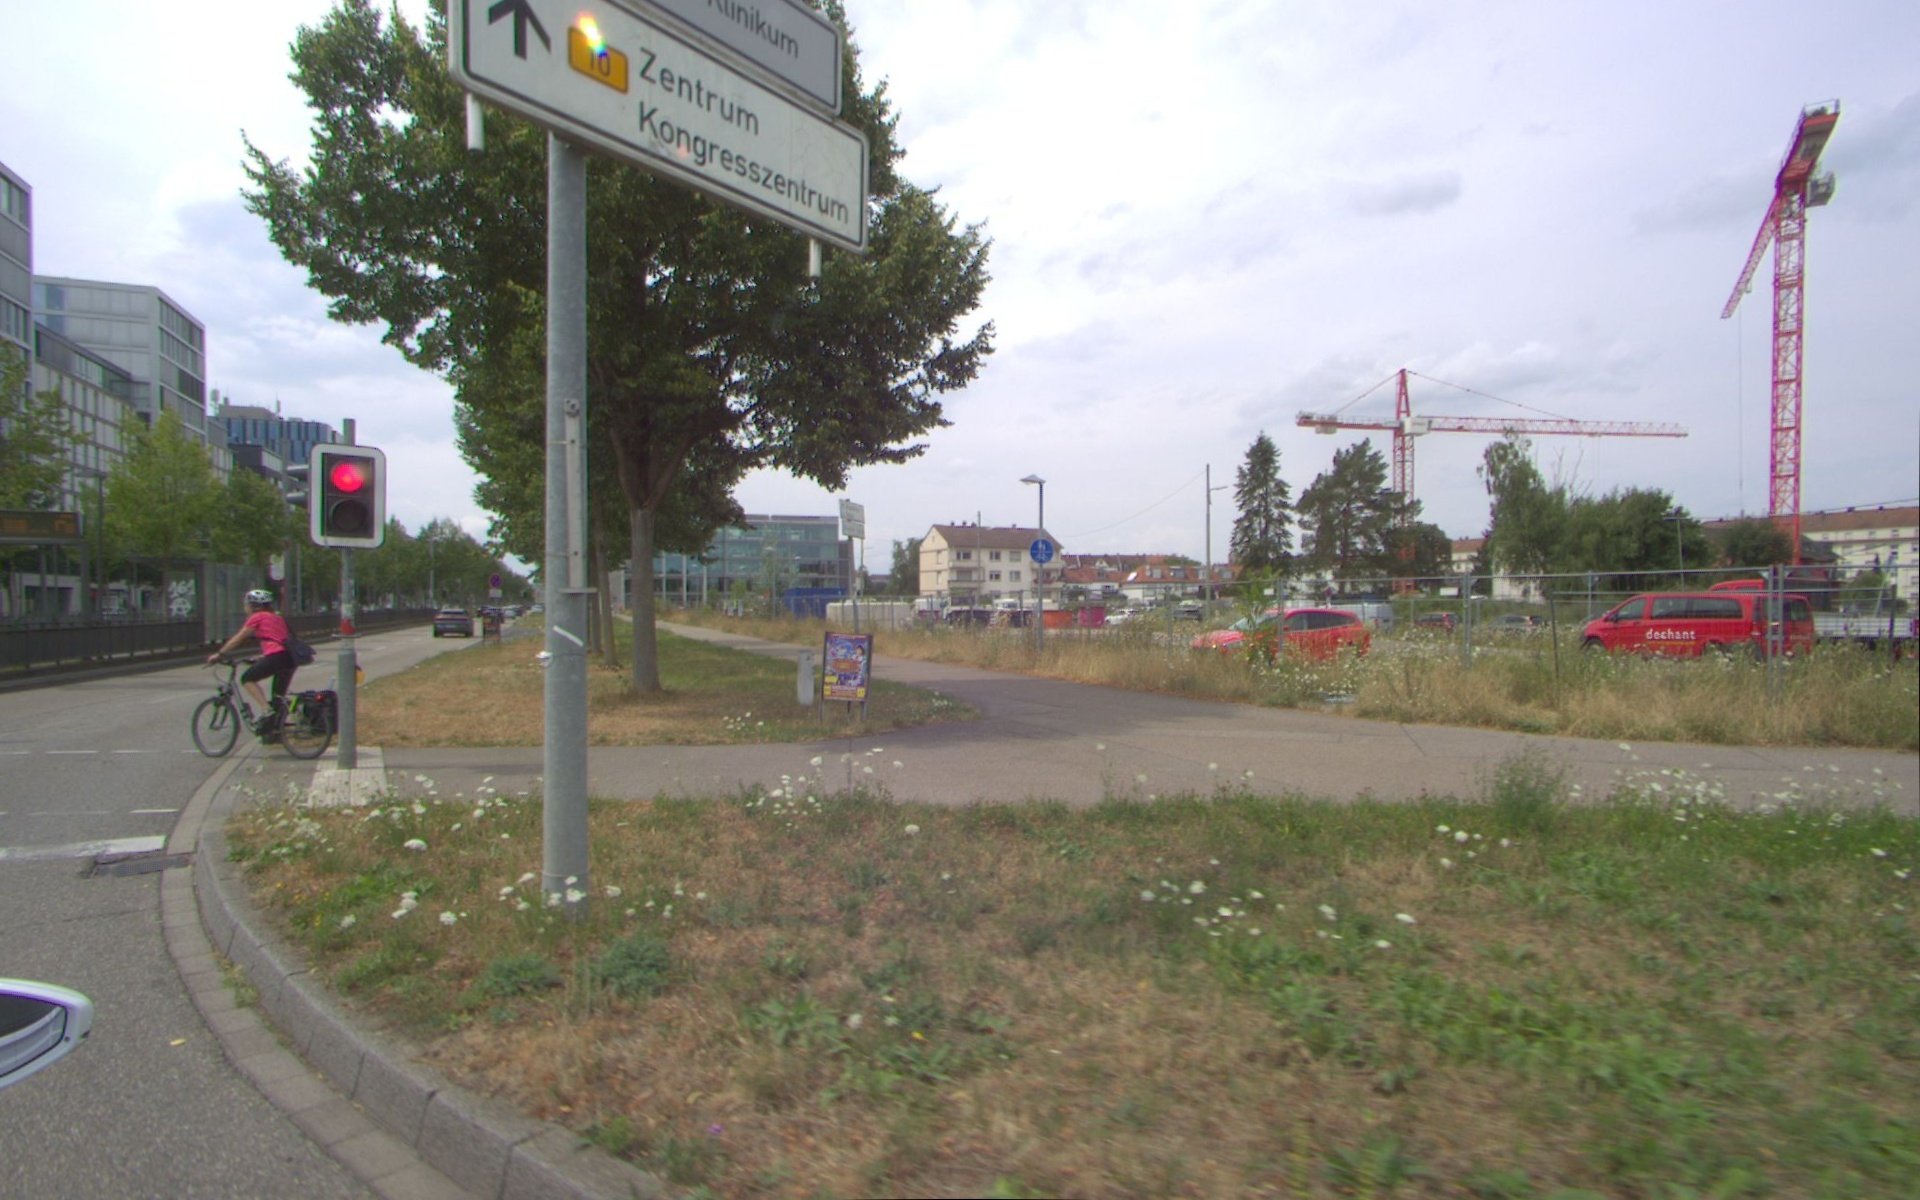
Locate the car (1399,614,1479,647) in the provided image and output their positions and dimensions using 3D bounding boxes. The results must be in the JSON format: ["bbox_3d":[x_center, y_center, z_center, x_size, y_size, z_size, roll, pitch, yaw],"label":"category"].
[{"bbox_3d":[27.386,1.704,57.401,1.826,1.772,4.003,0,0,-21],"label":"car"}]

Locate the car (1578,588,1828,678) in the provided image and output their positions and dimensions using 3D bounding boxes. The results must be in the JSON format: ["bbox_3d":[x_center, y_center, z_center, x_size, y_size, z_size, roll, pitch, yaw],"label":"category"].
[{"bbox_3d":[18.192,0.778,24.906,1.901,1.935,4.984,2,-1,-11],"label":"car"}]

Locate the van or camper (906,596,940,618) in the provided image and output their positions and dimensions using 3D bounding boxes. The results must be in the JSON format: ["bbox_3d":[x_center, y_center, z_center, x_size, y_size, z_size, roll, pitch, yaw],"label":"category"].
[{"bbox_3d":[-4.582,0.899,124.202,2.316,2.723,5.223,0,0,-26],"label":"van or camper"}]

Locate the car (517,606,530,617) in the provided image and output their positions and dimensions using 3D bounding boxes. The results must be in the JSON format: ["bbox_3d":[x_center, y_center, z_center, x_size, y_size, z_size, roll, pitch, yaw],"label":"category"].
[{"bbox_3d":[-62.223,1.586,142.709,1.773,1.517,4.102,0,-1,-24],"label":"car"}]

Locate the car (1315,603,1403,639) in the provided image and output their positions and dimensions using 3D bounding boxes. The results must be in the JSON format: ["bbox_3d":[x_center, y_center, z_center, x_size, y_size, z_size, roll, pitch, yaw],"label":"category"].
[{"bbox_3d":[24.789,1.294,62.444,2.116,2.164,4.886,0,0,-28],"label":"car"}]

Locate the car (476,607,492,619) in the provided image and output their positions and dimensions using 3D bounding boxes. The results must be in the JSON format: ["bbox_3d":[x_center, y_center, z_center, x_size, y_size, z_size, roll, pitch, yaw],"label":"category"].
[{"bbox_3d":[-60.185,1.624,126.660,1.705,1.554,4.357,0,-1,-23],"label":"car"}]

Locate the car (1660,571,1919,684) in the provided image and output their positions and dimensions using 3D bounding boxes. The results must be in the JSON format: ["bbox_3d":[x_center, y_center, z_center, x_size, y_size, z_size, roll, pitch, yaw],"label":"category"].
[{"bbox_3d":[21.229,0.625,24.975,2.275,2.444,6.538,0,0,-10],"label":"car"}]

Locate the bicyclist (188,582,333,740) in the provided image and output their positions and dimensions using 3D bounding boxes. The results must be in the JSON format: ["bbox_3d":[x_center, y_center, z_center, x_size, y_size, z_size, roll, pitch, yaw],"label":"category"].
[{"bbox_3d":[-7.592,0.635,10.904,1.029,1.649,0.791,0,1,6],"label":"bicyclist"}]

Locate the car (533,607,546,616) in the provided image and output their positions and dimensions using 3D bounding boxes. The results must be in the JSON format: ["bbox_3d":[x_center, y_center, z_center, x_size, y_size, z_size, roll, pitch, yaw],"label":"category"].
[{"bbox_3d":[-80.145,2.192,190.754,1.966,1.639,4.741,0,0,-19],"label":"car"}]

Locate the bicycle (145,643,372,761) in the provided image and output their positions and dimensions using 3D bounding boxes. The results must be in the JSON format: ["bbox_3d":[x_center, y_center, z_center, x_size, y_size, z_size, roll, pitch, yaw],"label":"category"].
[{"bbox_3d":[-7.608,1.078,10.902,2.002,1.183,0.791,0,0,7],"label":"bicycle"}]

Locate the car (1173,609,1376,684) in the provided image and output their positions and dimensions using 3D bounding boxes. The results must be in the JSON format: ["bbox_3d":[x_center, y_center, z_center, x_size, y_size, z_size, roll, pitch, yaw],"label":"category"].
[{"bbox_3d":[7.122,0.973,22.573,4.462,1.553,1.781,0,0,-29],"label":"car"}]

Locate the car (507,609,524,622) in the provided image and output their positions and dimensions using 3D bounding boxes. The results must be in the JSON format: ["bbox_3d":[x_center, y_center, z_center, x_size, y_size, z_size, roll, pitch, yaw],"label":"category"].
[{"bbox_3d":[-52.797,1.846,118.951,1.801,1.481,4.245,0,-1,-24],"label":"car"}]

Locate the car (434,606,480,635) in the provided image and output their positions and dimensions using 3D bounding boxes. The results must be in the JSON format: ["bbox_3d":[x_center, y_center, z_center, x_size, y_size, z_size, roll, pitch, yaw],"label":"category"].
[{"bbox_3d":[-28.733,1.152,57.304,2.031,1.571,4.460,1,-1,-23],"label":"car"}]

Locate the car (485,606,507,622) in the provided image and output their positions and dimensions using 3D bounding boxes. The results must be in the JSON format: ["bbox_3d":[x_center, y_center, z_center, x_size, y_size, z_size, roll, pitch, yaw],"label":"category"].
[{"bbox_3d":[-44.175,1.334,95.409,1.712,1.539,4.134,0,-1,-22],"label":"car"}]

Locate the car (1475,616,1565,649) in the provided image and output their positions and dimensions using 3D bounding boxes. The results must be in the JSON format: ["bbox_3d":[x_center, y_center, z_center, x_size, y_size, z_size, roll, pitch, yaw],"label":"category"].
[{"bbox_3d":[29.417,1.672,52.732,1.771,1.623,4.003,0,0,-20],"label":"car"}]
